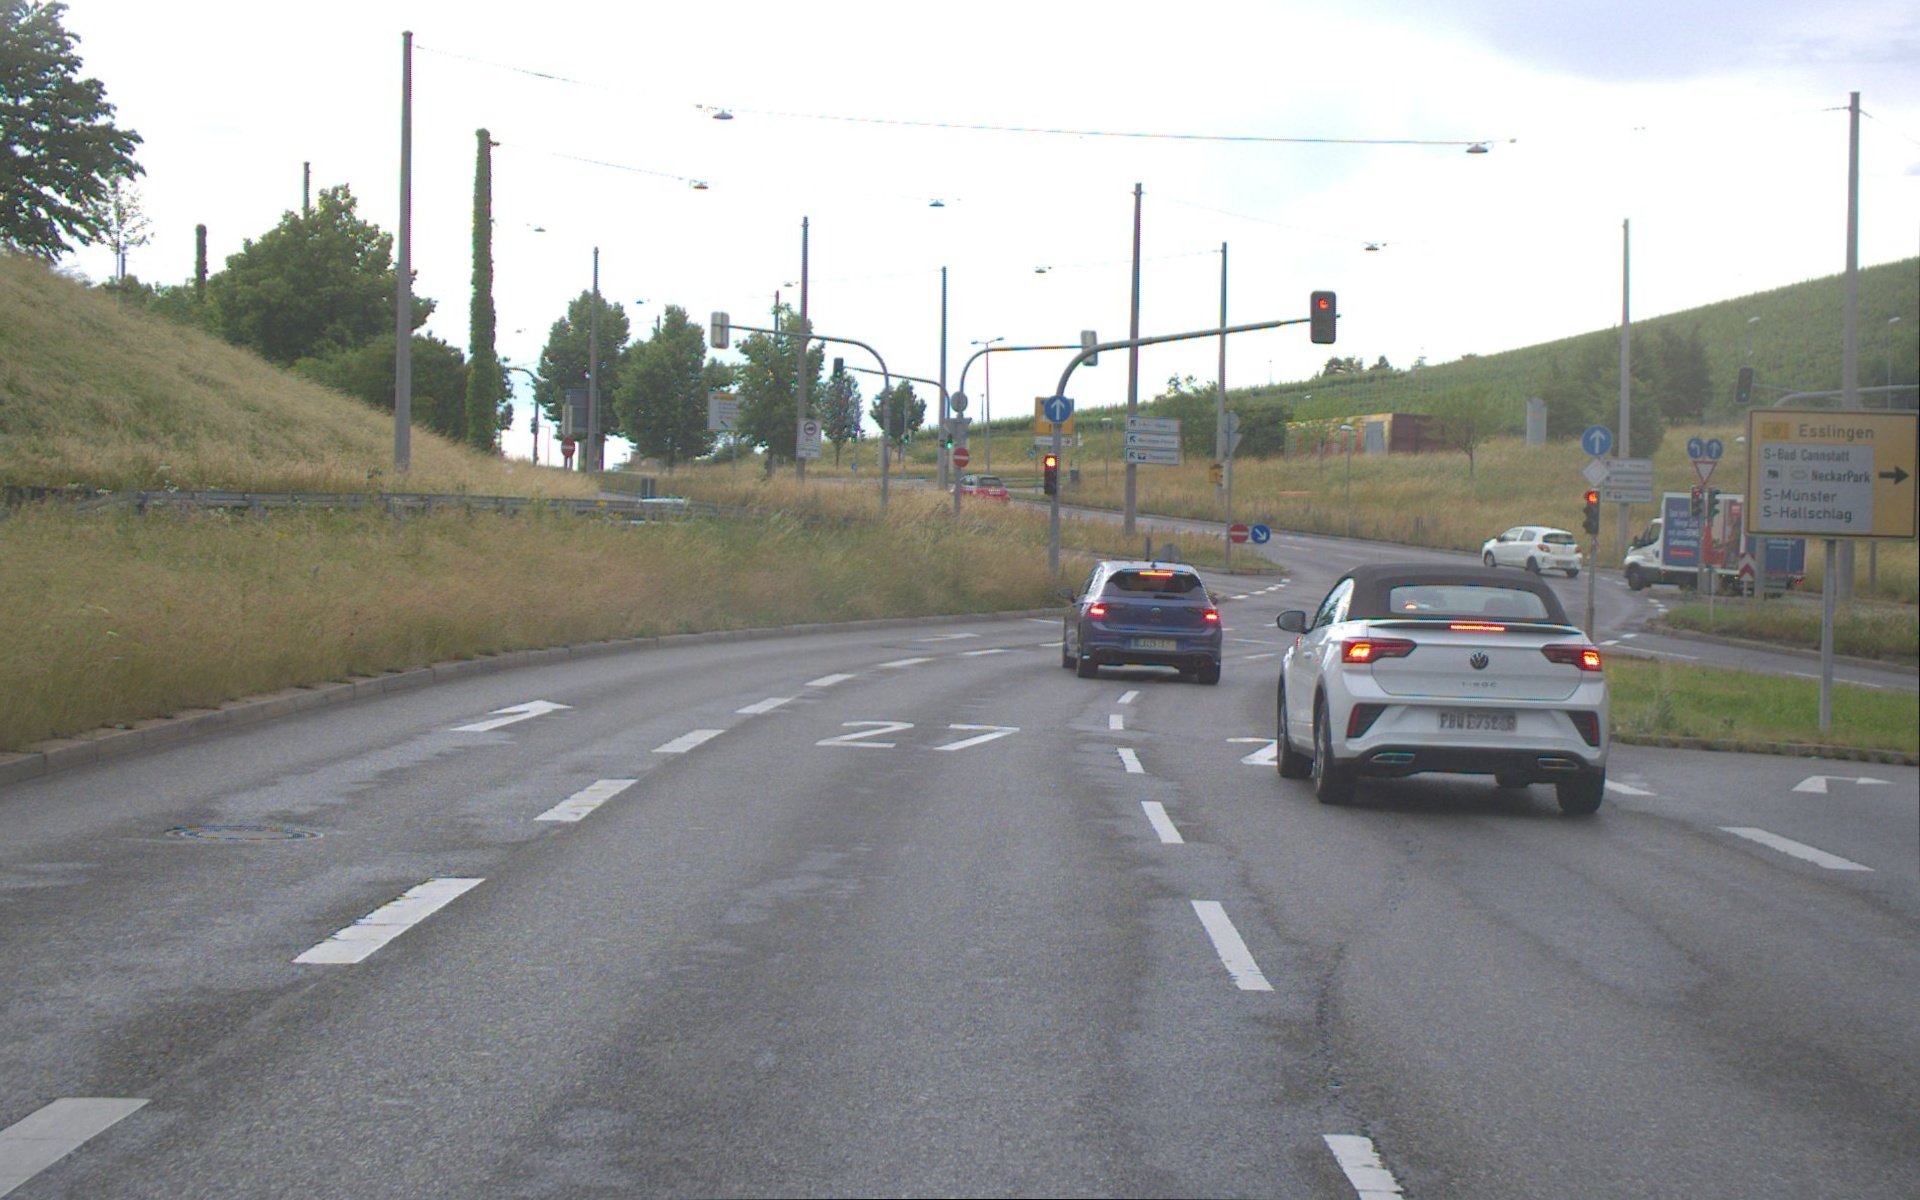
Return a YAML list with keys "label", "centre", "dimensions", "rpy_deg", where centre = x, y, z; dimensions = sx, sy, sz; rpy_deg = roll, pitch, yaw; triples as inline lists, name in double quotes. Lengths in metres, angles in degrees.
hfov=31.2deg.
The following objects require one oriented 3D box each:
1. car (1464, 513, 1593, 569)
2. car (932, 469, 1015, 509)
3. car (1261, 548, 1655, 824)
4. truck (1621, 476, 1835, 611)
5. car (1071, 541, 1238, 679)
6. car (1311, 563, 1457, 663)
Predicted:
- label: "car"
  centre: [17.939, -1.883, 108.748]
  dimensions: [1.993, 1.495, 4.565]
  rpy_deg: [0, 4, -20]
- label: "car"
  centre: [0.571, -4.871, 150.372]
  dimensions: [1.993, 1.706, 4.565]
  rpy_deg: [0, 2, -23]
- label: "car"
  centre: [3.182, 0.501, 22.786]
  dimensions: [1.996, 1.573, 4.125]
  rpy_deg: [3, 0, 1]
- label: "truck"
  centre: [21.958, -1.670, 98.651]
  dimensions: [2.847, 3.514, 6.238]
  rpy_deg: [0, 4, -22]
- label: "car"
  centre: [2.503, 0.124, 43.475]
  dimensions: [1.926, 1.594, 4.060]
  rpy_deg: [2, 0, 5]
- label: "car"
  centre: [7.174, 0.200, 57.937]
  dimensions: [1.776, 1.514, 3.722]
  rpy_deg: [4, 1, 16]
